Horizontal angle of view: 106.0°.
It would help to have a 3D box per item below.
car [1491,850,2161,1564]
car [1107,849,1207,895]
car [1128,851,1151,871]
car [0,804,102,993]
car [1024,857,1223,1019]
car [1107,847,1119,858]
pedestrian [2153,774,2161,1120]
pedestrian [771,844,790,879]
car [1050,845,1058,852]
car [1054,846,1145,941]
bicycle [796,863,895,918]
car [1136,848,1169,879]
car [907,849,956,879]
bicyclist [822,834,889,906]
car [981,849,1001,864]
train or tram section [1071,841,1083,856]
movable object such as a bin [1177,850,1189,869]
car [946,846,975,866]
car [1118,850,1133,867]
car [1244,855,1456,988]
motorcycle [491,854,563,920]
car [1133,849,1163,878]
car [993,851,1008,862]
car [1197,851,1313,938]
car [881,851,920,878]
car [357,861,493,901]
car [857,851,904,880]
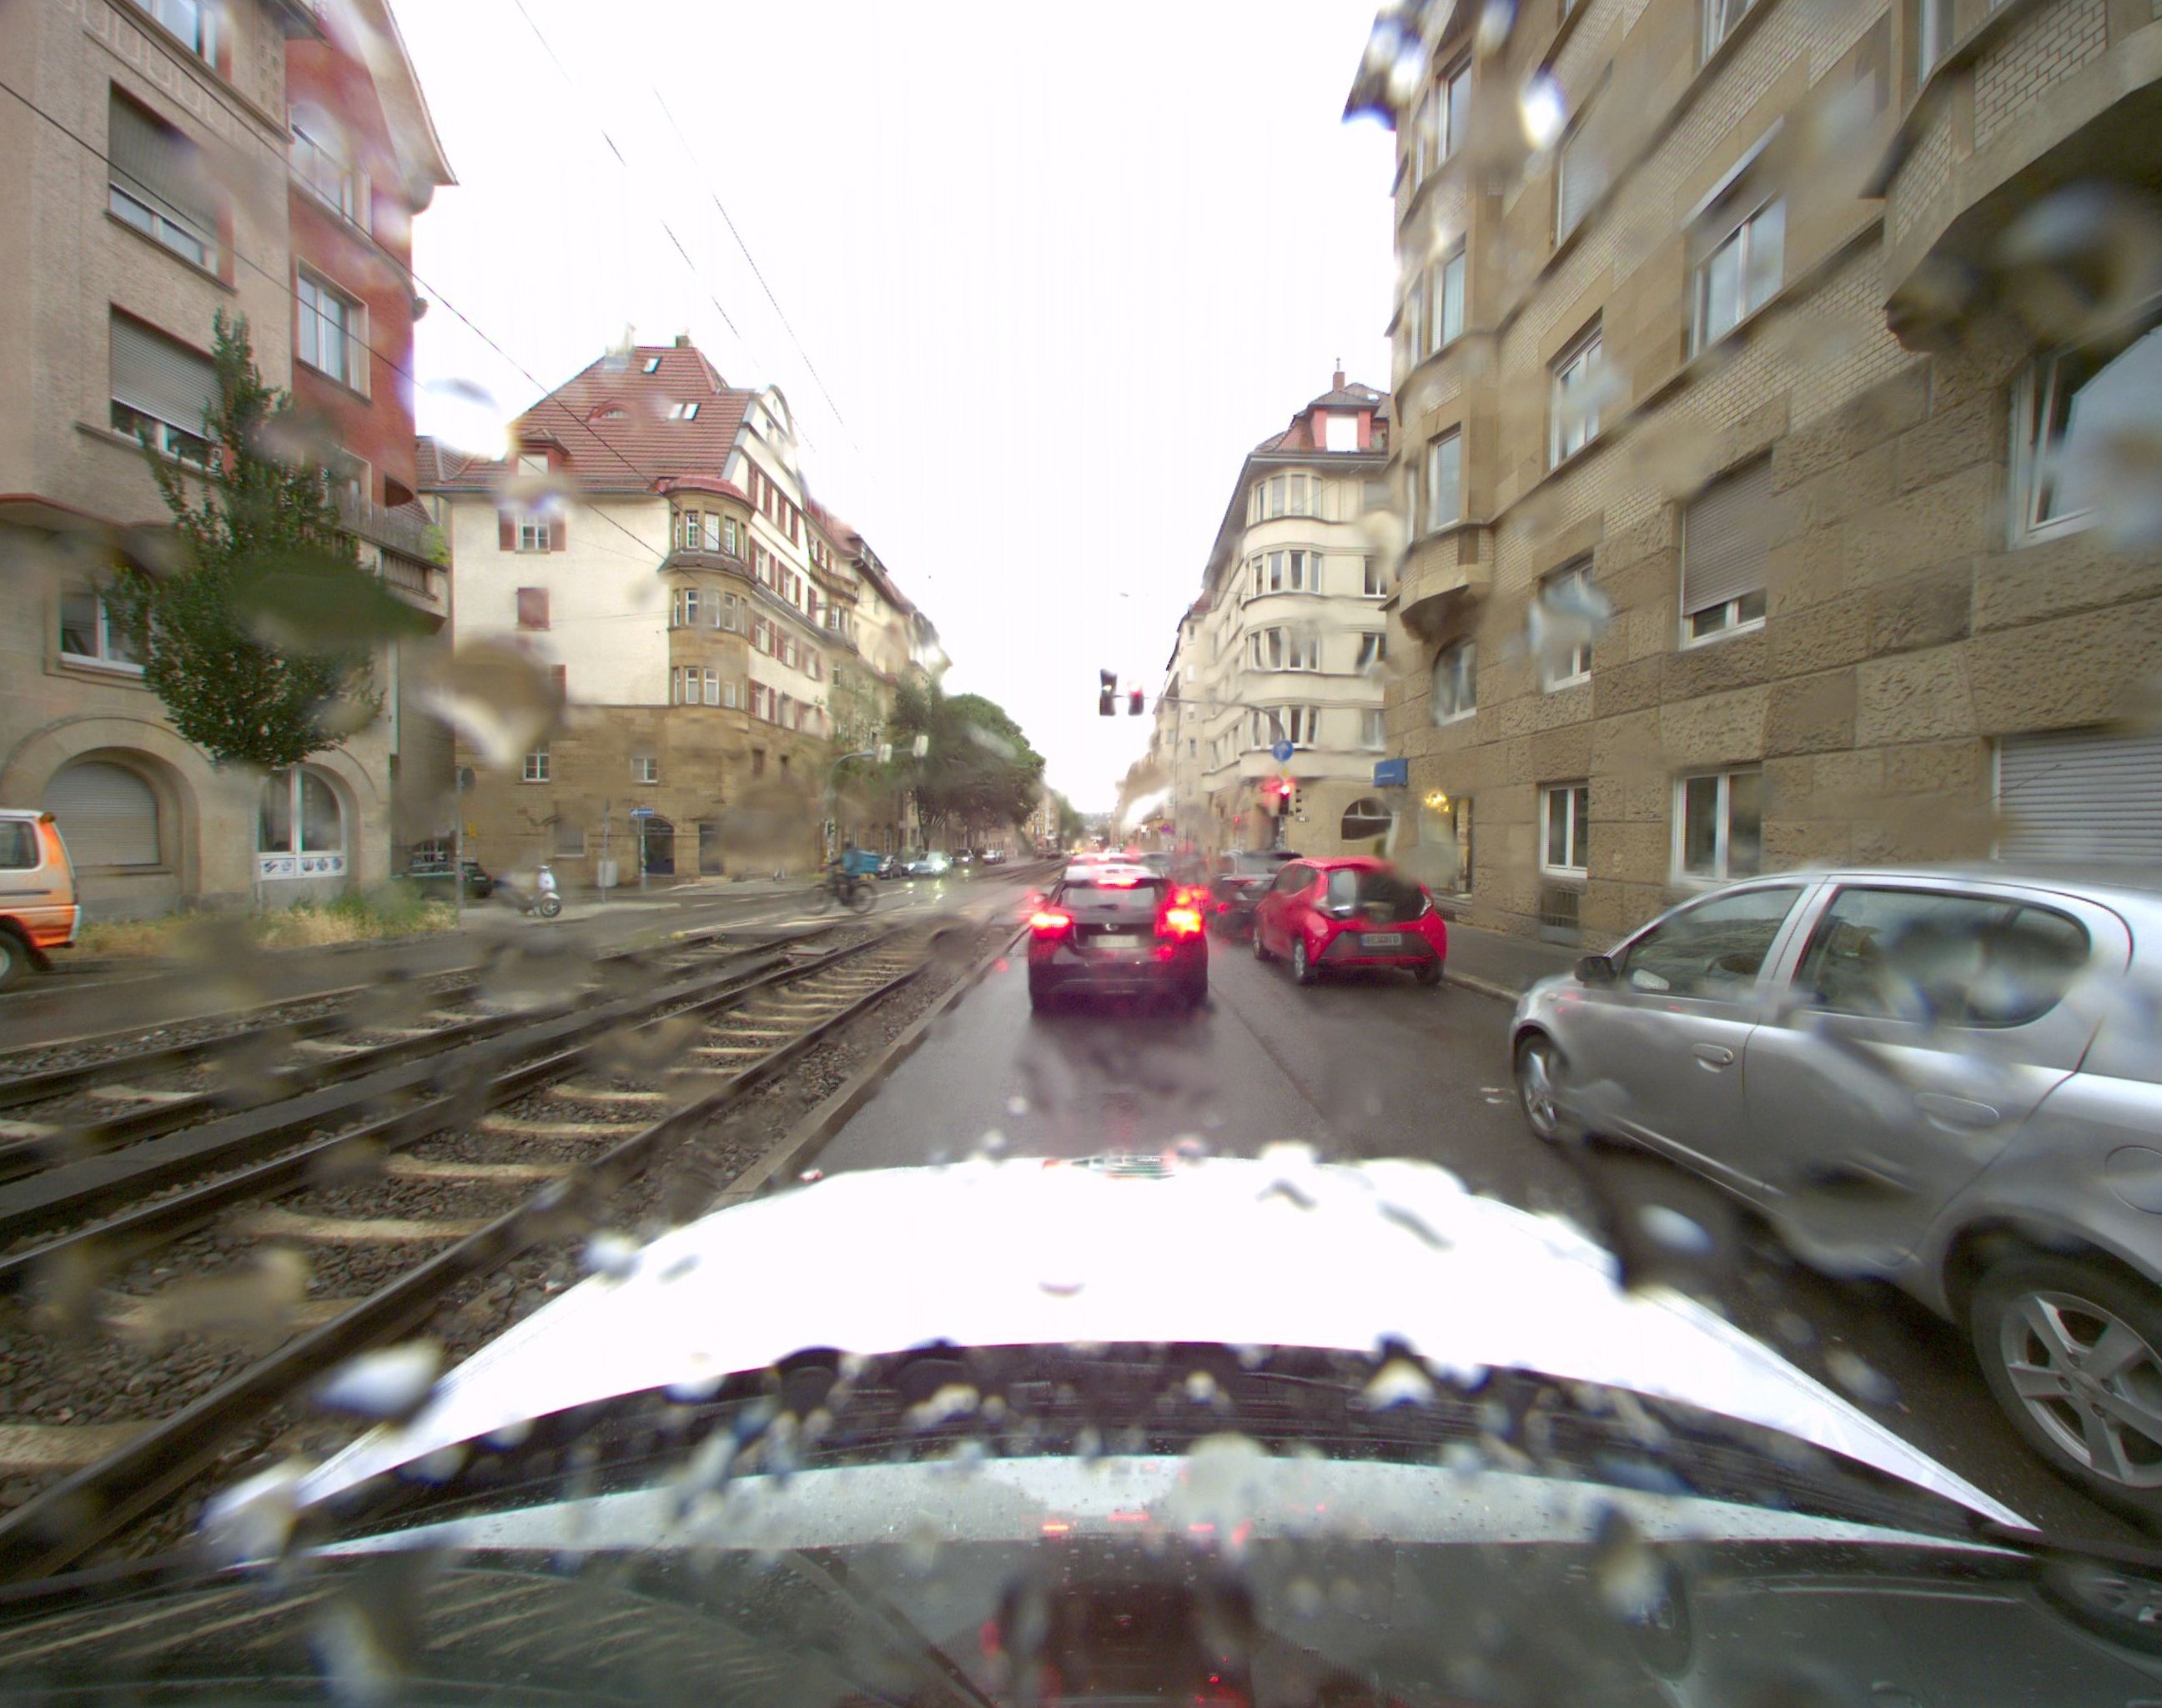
[{"bbox_3d":[3.135,0.742,3.072,1.608,1.467,3.314,-2,0,3],"label":"car"},{"bbox_3d":[2.855,0.647,30.981,3.640,1.636,1.559,0,0,45],"label":"car"},{"bbox_3d":[4.405,0.522,61.555,1.539,1.486,3.549,0,0,2],"label":"car"},{"bbox_3d":[-12.134,0.460,7.182,1.725,1.975,4.341,0,-1,0],"label":"car"},{"bbox_3d":[0.455,0.780,9.536,1.822,1.458,4.105,0,0,2],"label":"car"},{"bbox_3d":[5.372,-0.234,137.742,1.986,1.876,4.001,0,-1,2],"label":"car"},{"bbox_3d":[5.473,0.489,3.313,0.739,1.748,1.111,0,-1,2],"label":"pedestrian"},{"bbox_3d":[-14.291,0.362,38.715,0.629,1.672,0.702,0,-1,-1],"label":"pedestrian"},{"bbox_3d":[-5.213,-1.034,158.994,1.372,1.249,3.297,0,-1,0],"label":"car"},{"bbox_3d":[0.381,0.698,15.932,1.559,1.609,3.815,0,-1,2],"label":"car"},{"bbox_3d":[-5.388,0.800,18.706,2.047,1.186,0.817,0,-1,-38],"label":"bicycle"},{"bbox_3d":[3.691,0.478,42.674,1.539,1.590,3.549,0,0,2],"label":"car"},{"bbox_3d":[-8.281,0.570,45.404,1.891,1.588,3.974,0,-1,2],"label":"car"},{"bbox_3d":[-5.220,0.368,18.853,1.259,1.597,0.877,0,-1,-39],"label":"bicyclist"},{"bbox_3d":[-9.876,0.289,89.570,1.583,1.581,3.920,0,-1,2],"label":"car"},{"bbox_3d":[-0.977,-1.389,211.551,2.772,3.861,10.433,0,-1,2],"label":"train or tram section"},{"bbox_3d":[7.464,0.418,59.528,0.873,1.389,0.984,0,-1,5],"label":"movable object such as a bin"},{"bbox_3d":[-10.606,0.198,72.112,1.868,1.737,3.920,0,-1,2],"label":"car"},{"bbox_3d":[4.016,0.395,73.646,1.289,1.442,2.930,0,0,2],"label":"car"},{"bbox_3d":[3.266,0.734,10.538,1.637,1.448,3.298,0,0,-1],"label":"car"},{"bbox_3d":[-12.078,0.702,17.739,1.577,1.365,0.628,-1,-1,28],"label":"motorcycle"},{"bbox_3d":[3.832,0.521,47.148,1.539,1.590,3.549,0,0,2],"label":"car"},{"bbox_3d":[-9.806,0.275,98.986,1.443,1.331,3.271,0,-1,0],"label":"car"},{"bbox_3d":[3.232,0.688,15.782,1.539,1.486,3.831,0,0,2],"label":"car"},{"bbox_3d":[-11.297,0.632,51.125,1.713,1.611,3.914,0,-1,-3],"label":"car"},{"bbox_3d":[-24.395,0.992,30.382,3.633,1.404,1.699,0,-1,-3],"label":"car"},{"bbox_3d":[-11.266,0.627,46.090,1.747,1.552,4.033,0,-1,-2],"label":"car"}]
